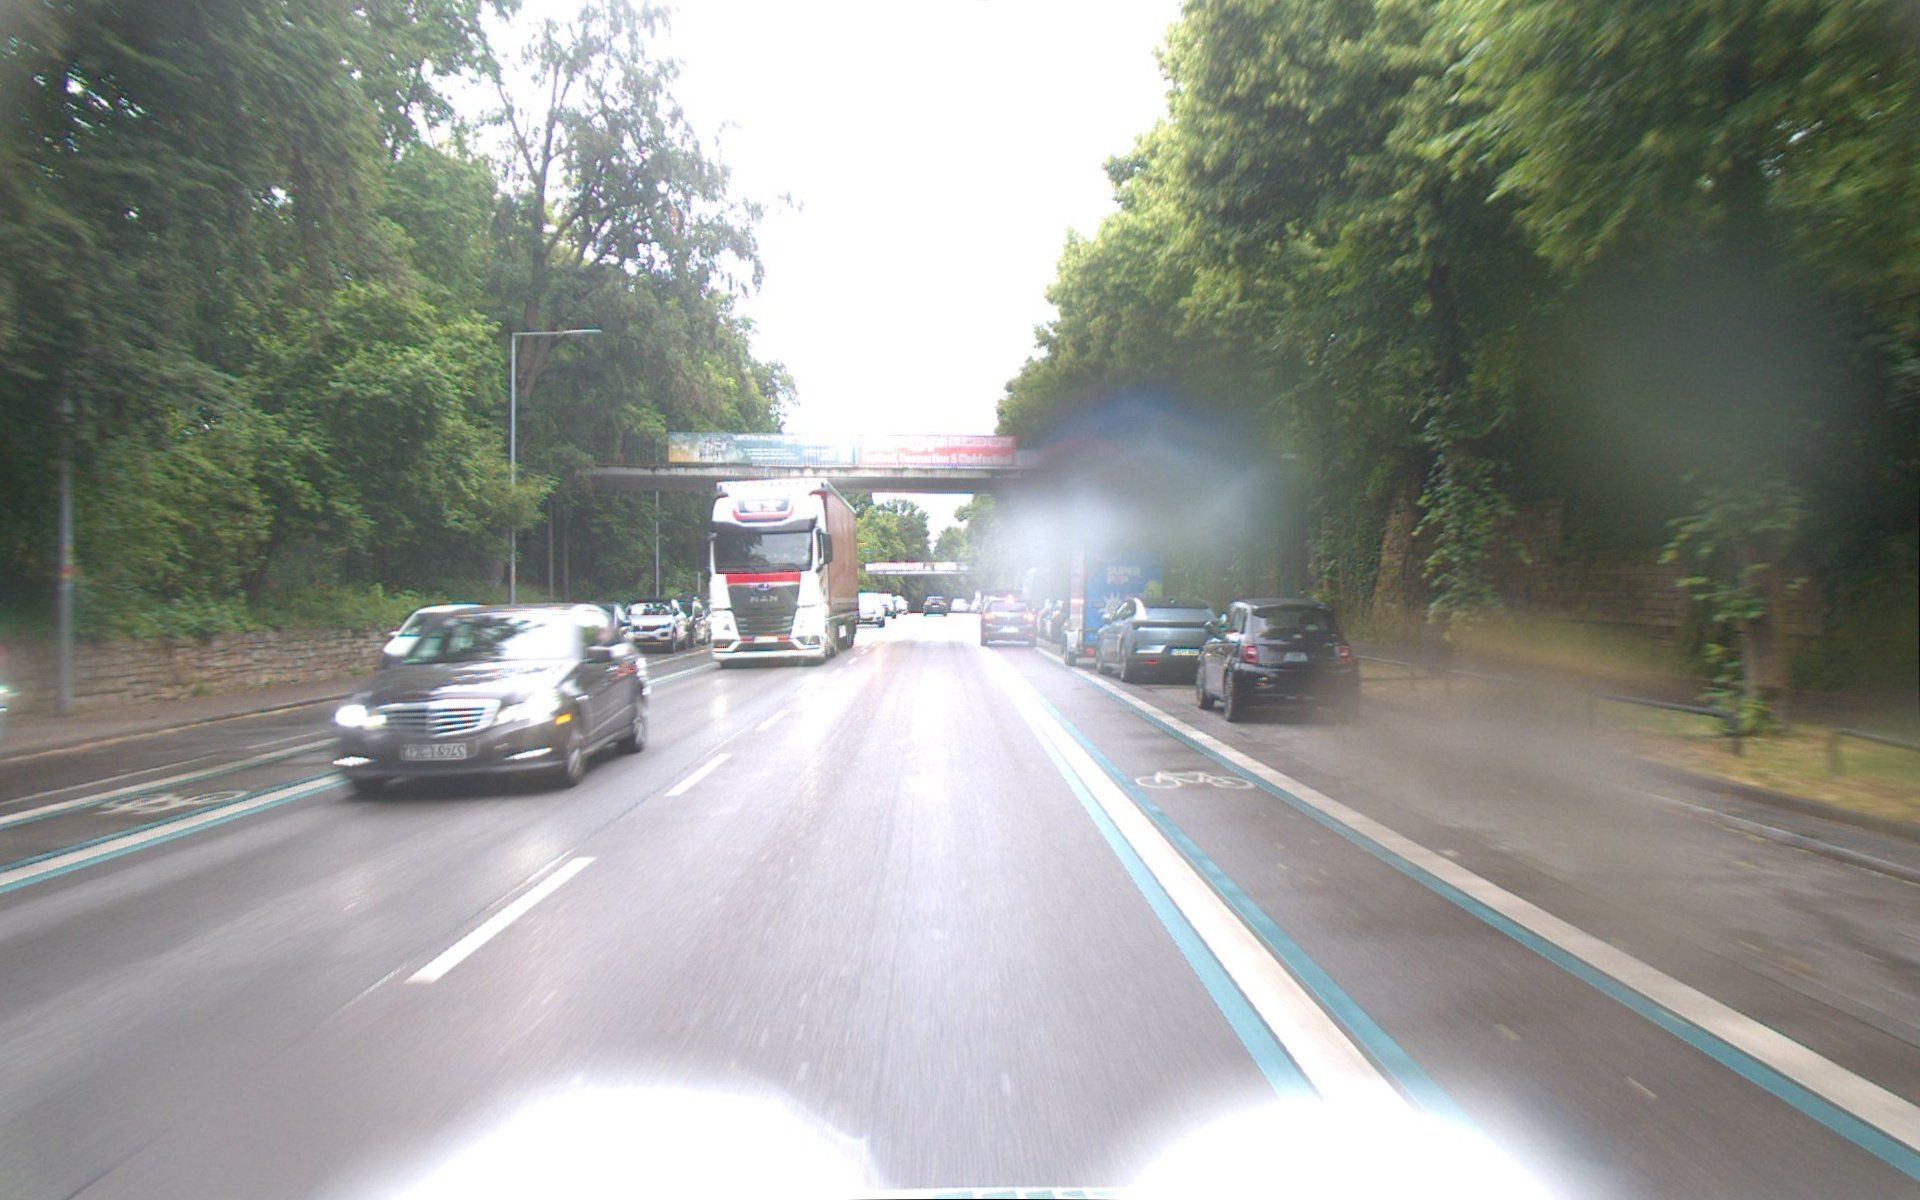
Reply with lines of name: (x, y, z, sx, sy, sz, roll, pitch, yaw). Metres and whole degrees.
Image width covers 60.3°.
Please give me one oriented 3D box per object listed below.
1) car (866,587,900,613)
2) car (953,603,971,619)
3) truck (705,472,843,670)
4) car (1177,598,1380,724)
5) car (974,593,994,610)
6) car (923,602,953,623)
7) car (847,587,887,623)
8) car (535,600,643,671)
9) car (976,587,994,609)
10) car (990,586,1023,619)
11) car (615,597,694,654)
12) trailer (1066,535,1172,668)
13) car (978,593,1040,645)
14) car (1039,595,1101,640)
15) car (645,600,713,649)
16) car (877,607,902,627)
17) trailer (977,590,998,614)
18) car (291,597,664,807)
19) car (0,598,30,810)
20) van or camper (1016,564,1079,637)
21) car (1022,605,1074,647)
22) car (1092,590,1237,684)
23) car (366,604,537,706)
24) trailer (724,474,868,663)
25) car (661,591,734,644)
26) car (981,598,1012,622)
car: (-5.079, -0.024, 109.762, 1.925, 1.656, 4.321, -1, 0, 1)
car: (0.164, 1.093, 168.055, 1.696, 1.611, 4.035, -1, 0, -1)
truck: (-4.146, -0.625, 37.735, 2.466, 4.117, 4.916, -2, 0, 0)
car: (4.186, 0.735, 22.428, 1.788, 1.529, 4.569, 0, 0, -1)
car: (2.245, 0.131, 155.203, 1.696, 1.611, 4.153, 0, 0, -2)
car: (-1.664, 0.933, 124.861, 2.097, 1.518, 4.496, 1, 0, -3)
car: (-4.548, 0.238, 81.284, 1.797, 1.695, 4.179, 0, 0, -1)
car: (-8.443, 0.767, 37.952, 1.795, 1.502, 4.037, 0, 1, -4)
car: (2.514, -0.200, 167.649, 1.850, 2.164, 4.045, 0, 0, 0)
car: (3.004, 0.145, 107.671, 1.887, 2.057, 4.663, 1, 0, -1)
car: (-8.953, 0.713, 48.730, 1.653, 1.573, 4.231, 0, 1, -2)
trailer: (3.512, 0.033, 37.158, 1.913, 2.807, 4.006, 0, 0, -1)
car: (1.469, 0.556, 50.945, 1.781, 1.534, 4.139, -1, 0, 0)
car: (3.641, 0.565, 55.334, 1.652, 1.441, 4.195, 0, 0, -2)
car: (-9.009, 0.768, 53.304, 1.577, 1.464, 3.843, 0, 1, -1)
car: (-5.881, 1.365, 137.626, 1.882, 1.588, 4.620, 1, 0, -1)
trailer: (2.465, 0.171, 150.836, 1.845, 2.204, 3.807, -1, 0, 0)
car: (-3.980, 0.750, 14.541, 1.876, 1.482, 4.620, -2, 0, 0)
car: (-8.391, 0.819, 10.809, 1.969, 1.633, 4.779, 0, 0, -1)
van or camper: (3.522, 0.015, 68.012, 2.001, 2.777, 6.898, 1, 0, -2)
car: (3.220, 0.935, 61.012, 1.651, 1.441, 4.099, 1, 0, -1)
car: (3.755, 0.632, 31.214, 1.862, 1.574, 4.752, 2, 0, -3)
car: (-8.345, 0.851, 27.499, 1.753, 1.508, 3.980, -1, 1, -3)
trailer: (-4.212, -0.755, 45.359, 2.633, 4.333, 12.767, -2, 0, -1)
car: (-9.261, 0.585, 58.663, 1.950, 1.772, 4.837, 0, 1, -2)
car: (2.484, 0.670, 112.567, 1.753, 1.570, 4.887, 1, 0, -3)
